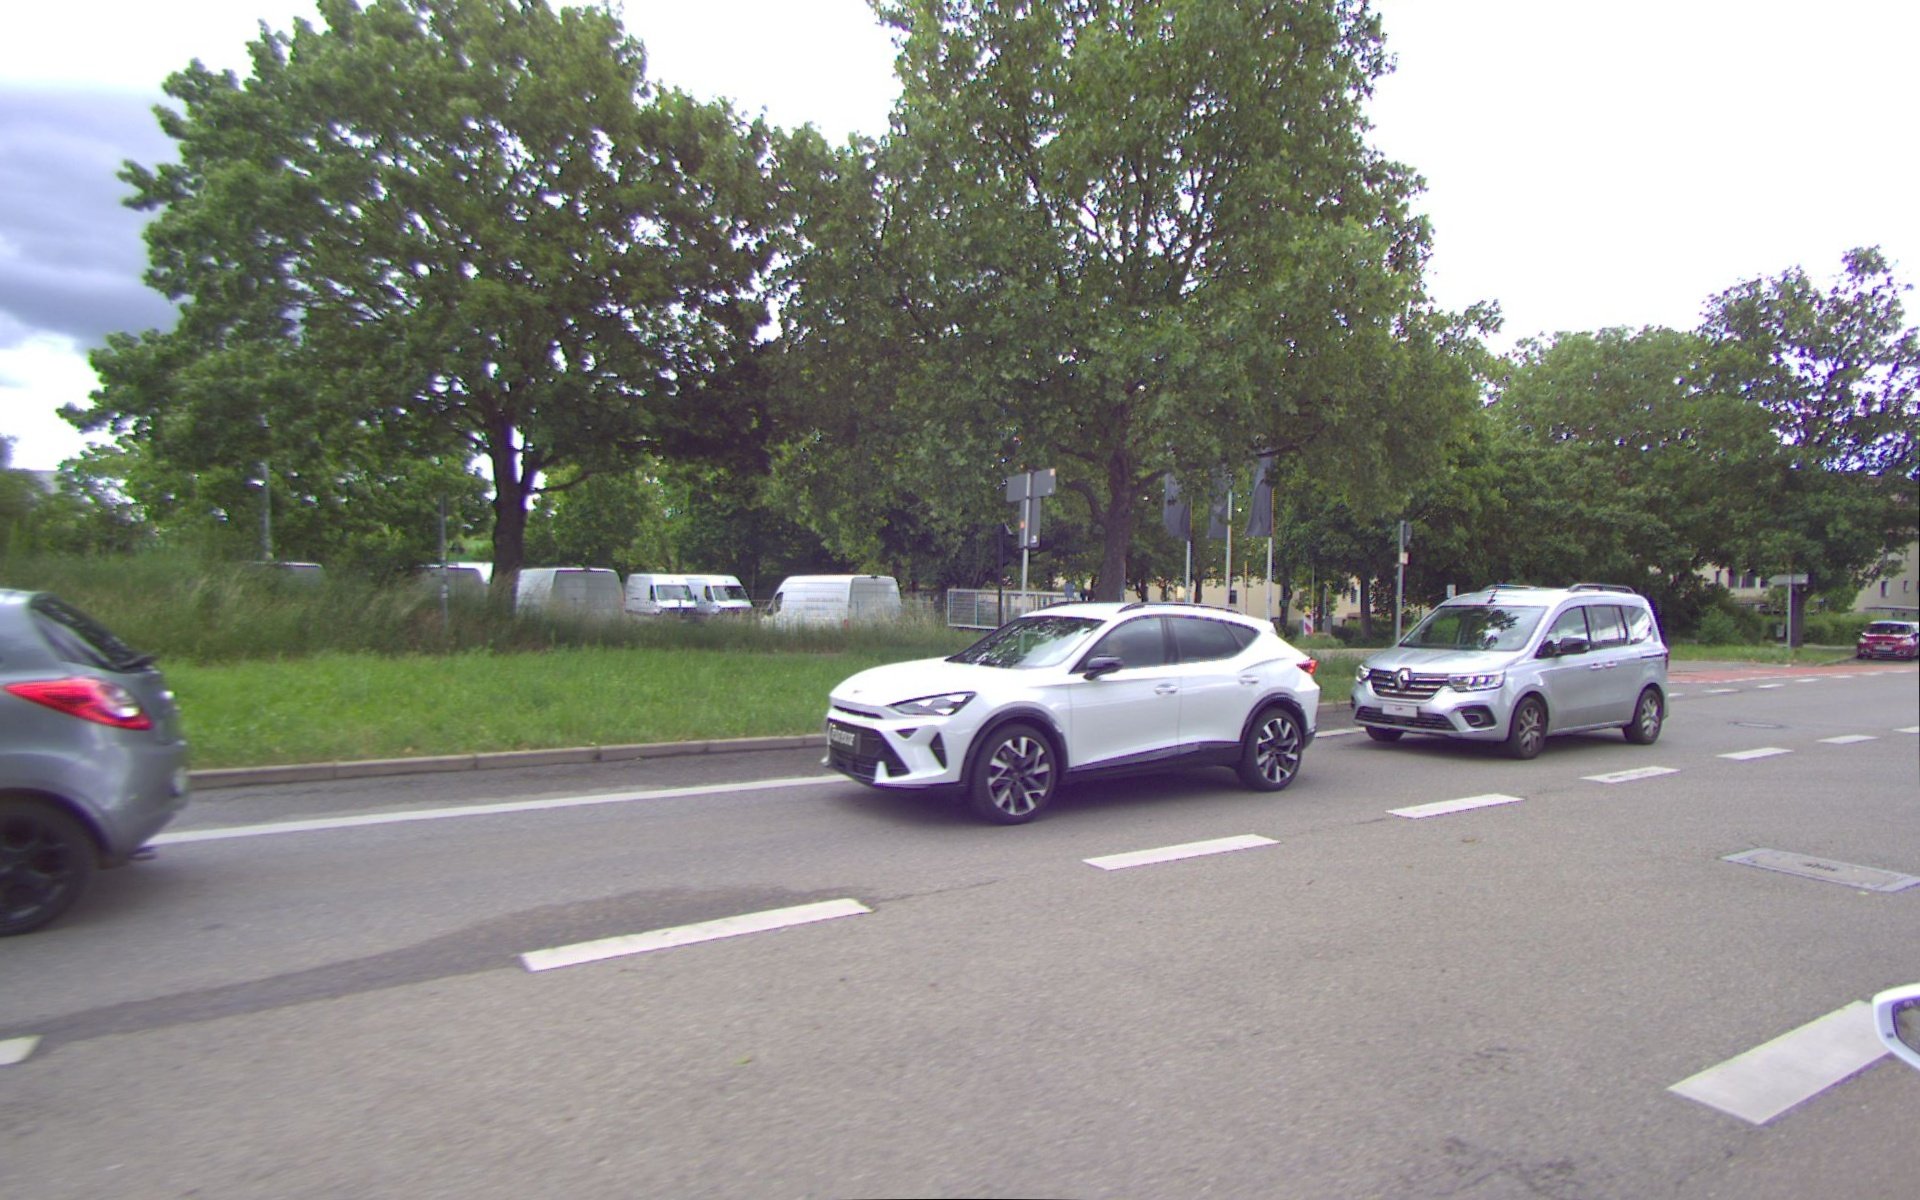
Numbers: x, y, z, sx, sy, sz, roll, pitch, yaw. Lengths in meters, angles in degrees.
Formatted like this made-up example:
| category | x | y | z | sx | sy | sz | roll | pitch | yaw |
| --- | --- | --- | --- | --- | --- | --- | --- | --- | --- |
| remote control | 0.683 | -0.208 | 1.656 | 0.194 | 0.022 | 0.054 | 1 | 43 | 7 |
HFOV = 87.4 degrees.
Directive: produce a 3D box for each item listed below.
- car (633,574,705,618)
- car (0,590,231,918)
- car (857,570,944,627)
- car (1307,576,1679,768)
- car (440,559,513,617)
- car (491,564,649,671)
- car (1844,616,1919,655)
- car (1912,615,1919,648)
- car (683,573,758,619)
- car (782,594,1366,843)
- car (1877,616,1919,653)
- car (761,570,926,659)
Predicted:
| category | x | y | z | sx | sy | sz | roll | pitch | yaw |
| --- | --- | --- | --- | --- | --- | --- | --- | --- | --- |
| car | -14.300 | -0.207 | 49.159 | 1.979 | 2.040 | 4.936 | 1 | 1 | -34 |
| car | -5.322 | 0.623 | 4.151 | 3.614 | 1.349 | 1.538 | 1 | -1 | -33 |
| car | -3.020 | -0.110 | 49.968 | 1.980 | 2.698 | 4.932 | 1 | 1 | -35 |
| car | 6.241 | 0.722 | 11.593 | 4.601 | 1.827 | 1.835 | 1 | -1 | -33 |
| car | -22.200 | -0.534 | 46.007 | 2.379 | 2.488 | 4.935 | 1 | 1 | -34 |
| car | -10.516 | 0.361 | 26.738 | 2.630 | 2.508 | 6.005 | 1 | 1 | -34 |
| car | 36.637 | 1.380 | 39.677 | 3.960 | 1.421 | 1.661 | 1 | 1 | -35 |
| car | 44.149 | 1.443 | 44.822 | 3.960 | 1.421 | 1.661 | 1 | 1 | -35 |
| car | -12.187 | -0.218 | 50.860 | 1.980 | 2.220 | 4.932 | 1 | 1 | -35 |
| car | 1.103 | 0.772 | 8.309 | 4.764 | 1.541 | 1.835 | 1 | -1 | -33 |
| car | 40.353 | 1.438 | 42.355 | 3.960 | 1.421 | 1.661 | 1 | 1 | -35 |
| car | -3.783 | 0.356 | 31.385 | 2.630 | 2.508 | 6.005 | 1 | 1 | -34 |
